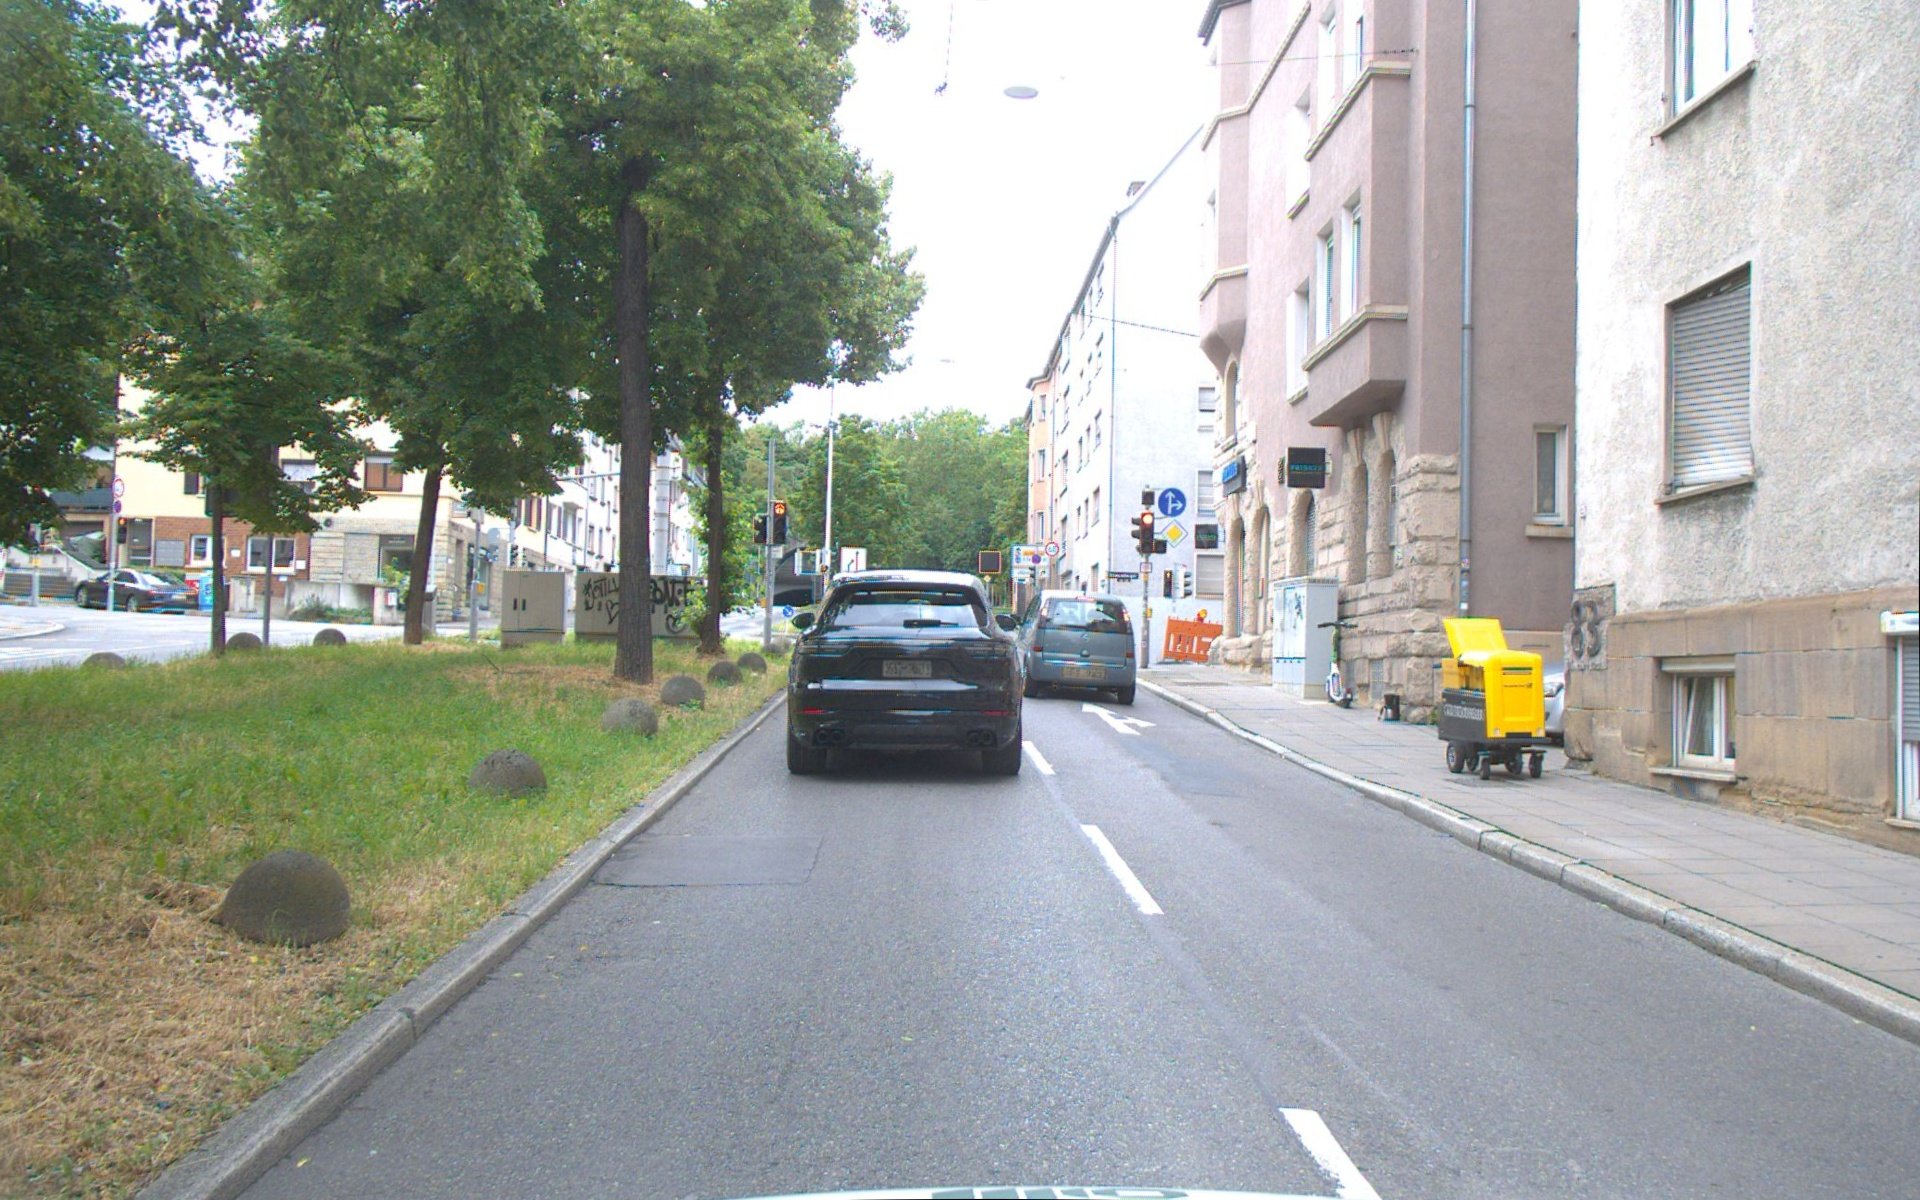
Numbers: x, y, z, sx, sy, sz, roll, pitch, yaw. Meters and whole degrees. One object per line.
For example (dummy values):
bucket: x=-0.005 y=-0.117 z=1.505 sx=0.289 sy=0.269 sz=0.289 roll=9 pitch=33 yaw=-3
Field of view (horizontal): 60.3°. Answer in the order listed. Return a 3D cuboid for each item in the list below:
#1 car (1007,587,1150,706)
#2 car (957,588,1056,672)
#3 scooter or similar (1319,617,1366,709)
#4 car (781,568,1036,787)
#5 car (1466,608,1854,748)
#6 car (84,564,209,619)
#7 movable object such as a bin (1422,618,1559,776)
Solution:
car: x=1.760 y=0.658 z=25.707 sx=1.717 sy=1.621 sz=3.628 roll=3 pitch=0 yaw=-3
car: x=0.938 y=0.619 z=35.518 sx=1.954 sy=1.682 sz=3.999 roll=0 pitch=0 yaw=-1
scooter or similar: x=5.391 y=0.869 z=23.363 sx=0.392 sy=1.209 sz=1.355 roll=0 pitch=2 yaw=2
car: x=-0.422 y=0.572 z=14.798 sx=1.954 sy=1.681 sz=4.000 roll=0 pitch=1 yaw=-1
car: x=8.375 y=0.909 z=20.031 sx=3.906 sy=1.427 sz=1.800 roll=1 pitch=2 yaw=-2
car: x=-26.702 y=-0.262 z=54.292 sx=3.915 sy=1.694 sz=1.877 roll=0 pitch=-2 yaw=32
movable object such as a bin: x=5.085 y=0.896 z=15.962 sx=0.705 sy=1.446 sz=1.692 roll=0 pitch=-1 yaw=-4
